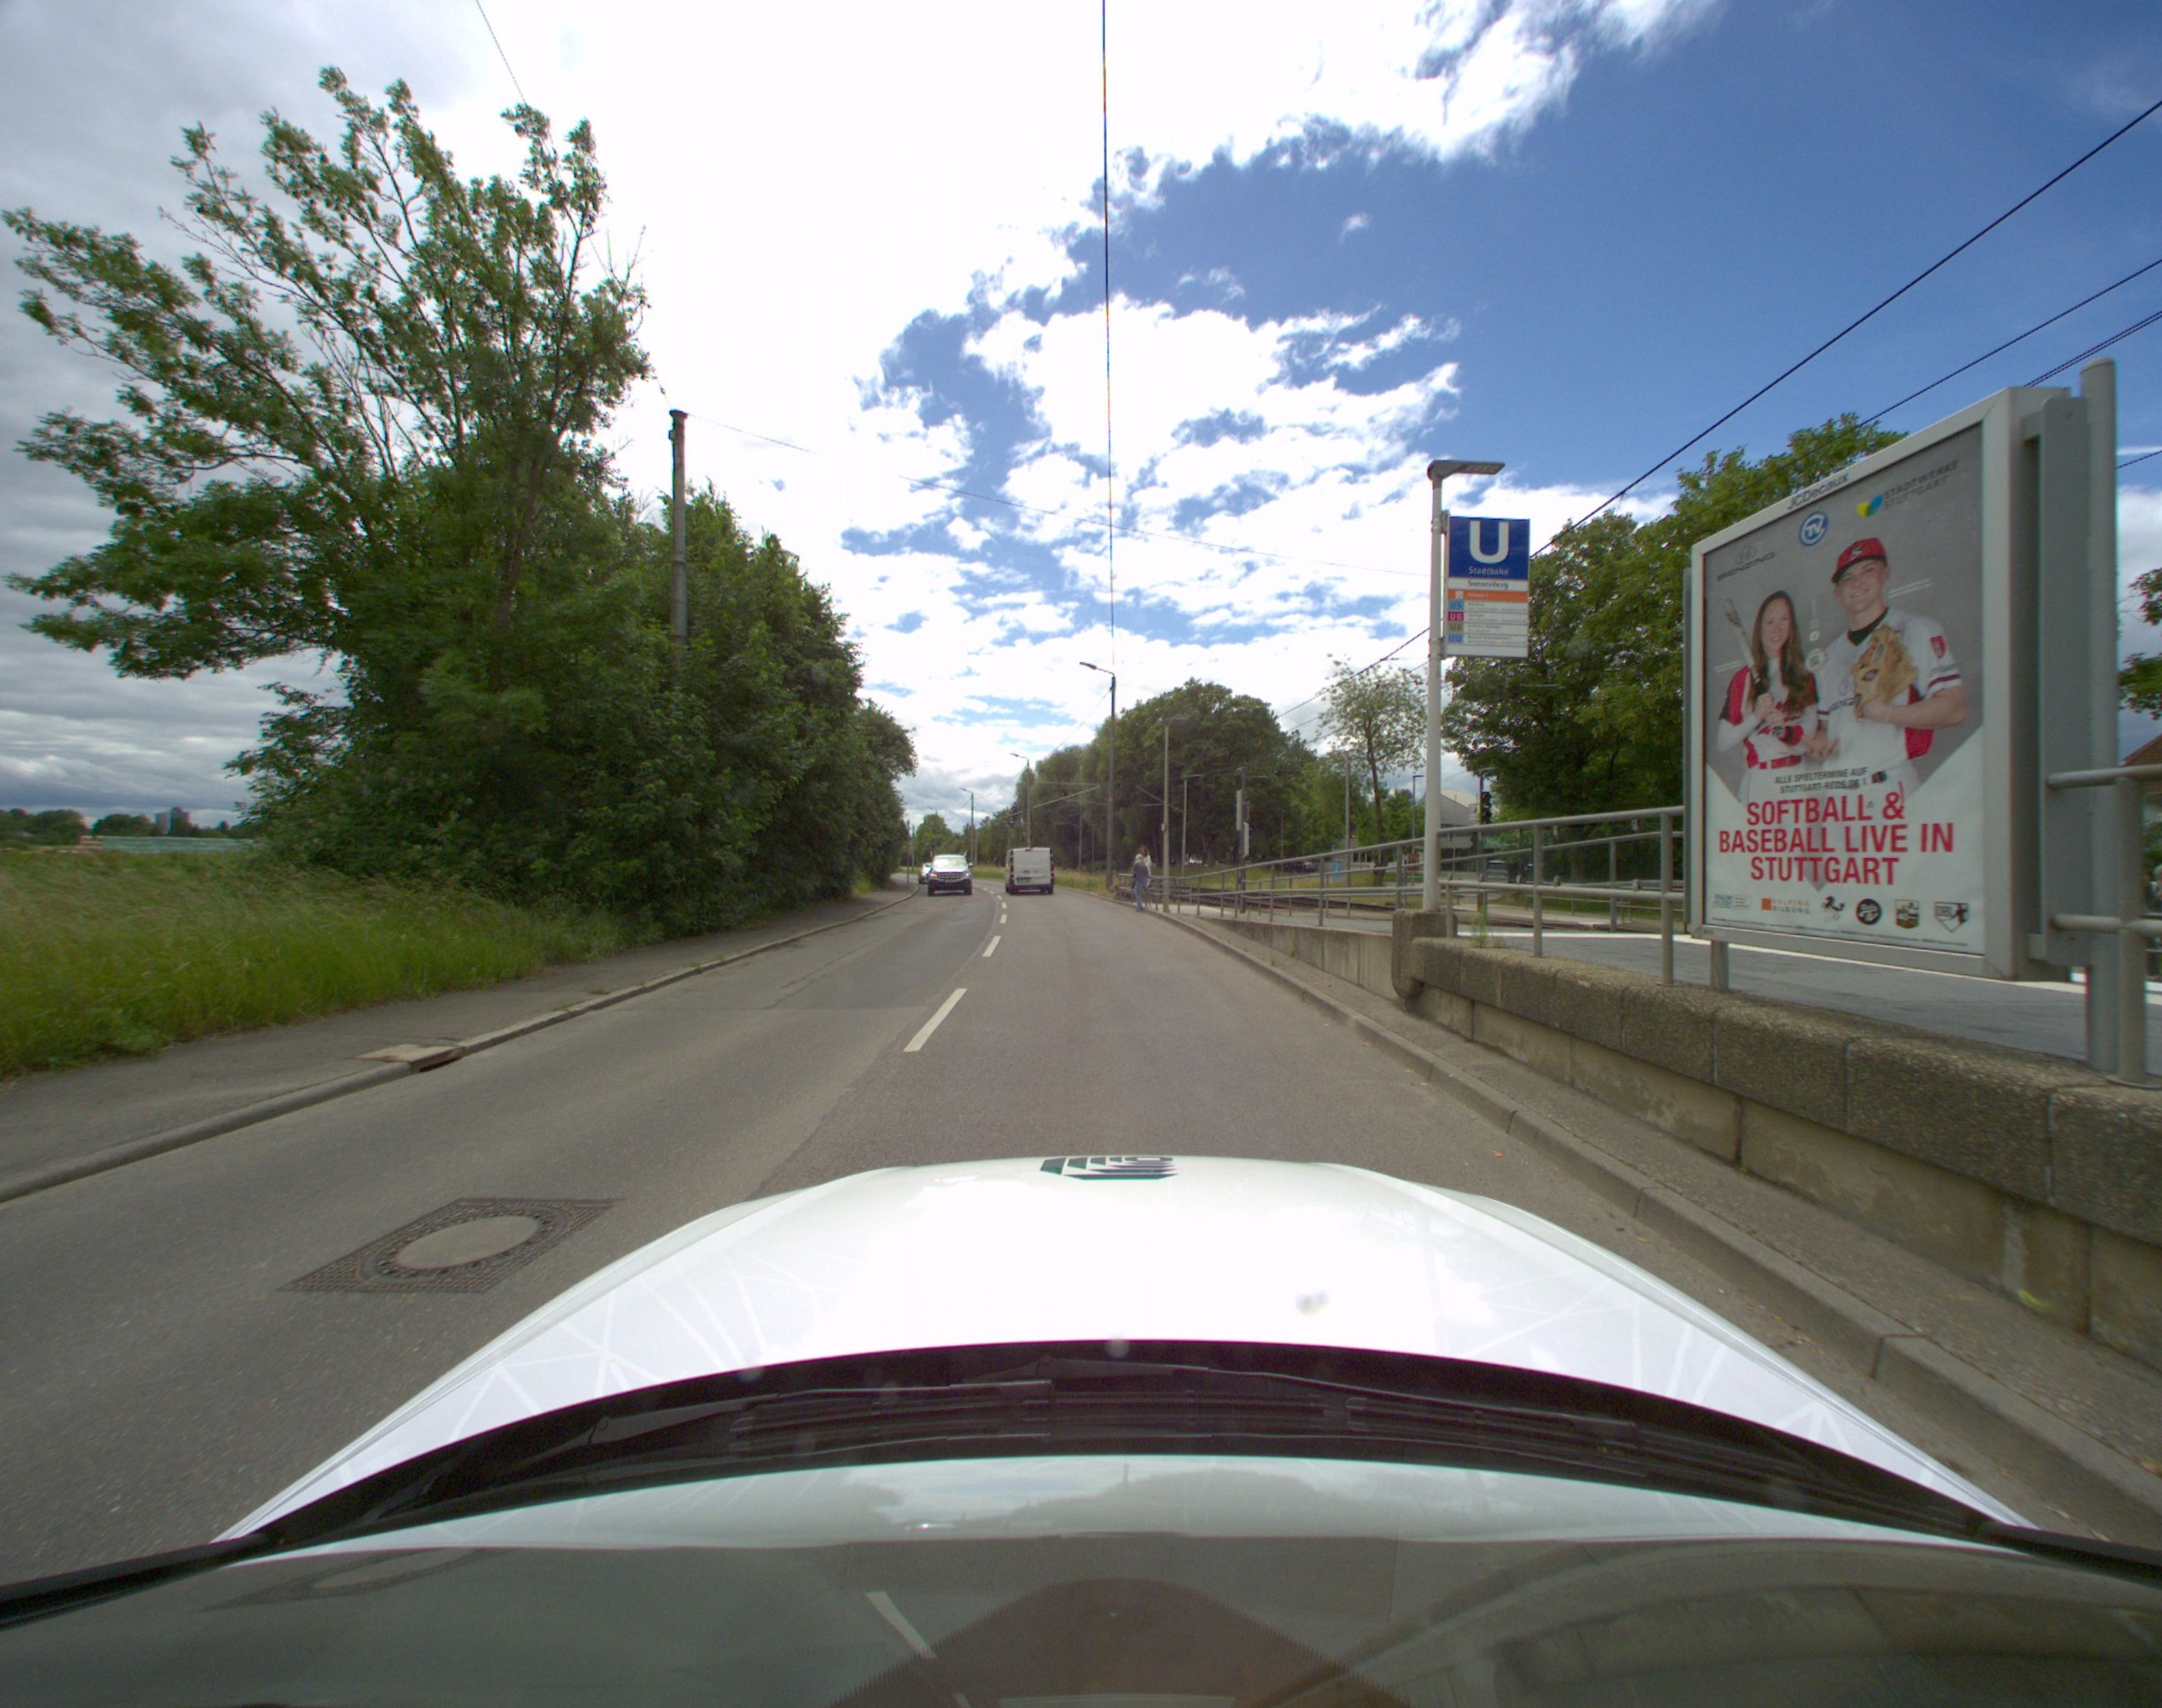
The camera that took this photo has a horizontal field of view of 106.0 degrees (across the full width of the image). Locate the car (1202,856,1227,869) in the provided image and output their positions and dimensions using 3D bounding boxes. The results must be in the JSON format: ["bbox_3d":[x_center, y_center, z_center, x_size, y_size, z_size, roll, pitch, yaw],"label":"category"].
[{"bbox_3d":[18.917,1.205,115.512,1.998,1.700,4.205,1,-1,-16],"label":"car"}]

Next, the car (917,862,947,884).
[{"bbox_3d":[-11.057,1.394,60.102,1.932,1.522,4.637,-2,-1,-13],"label":"car"}]

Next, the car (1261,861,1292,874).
[{"bbox_3d":[23.795,1.653,99.107,1.998,1.443,3.977,1,-1,-17],"label":"car"}]

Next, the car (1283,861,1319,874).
[{"bbox_3d":[25.363,1.572,94.047,1.998,1.443,4.321,1,-1,-17],"label":"car"}]

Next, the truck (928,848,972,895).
[{"bbox_3d":[-5.919,0.768,36.827,1.848,1.966,4.942,0,-1,-9],"label":"truck"}]

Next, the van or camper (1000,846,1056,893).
[{"bbox_3d":[-2.377,0.664,35.347,1.942,1.897,4.269,-1,-1,-10],"label":"van or camper"}]

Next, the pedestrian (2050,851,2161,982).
[{"bbox_3d":[13.174,0.777,10.470,0.491,1.622,0.790,1,-1,-1],"label":"pedestrian"}]

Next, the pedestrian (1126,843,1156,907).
[{"bbox_3d":[1.748,0.630,23.799,0.662,1.841,0.591,2,-4,-28],"label":"pedestrian"}]

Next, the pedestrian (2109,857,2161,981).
[{"bbox_3d":[13.936,0.827,10.507,0.491,1.561,0.692,1,-1,-1],"label":"pedestrian"}]

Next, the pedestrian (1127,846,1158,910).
[{"bbox_3d":[1.699,0.667,22.541,0.476,1.729,0.793,2,-4,-28],"label":"pedestrian"}]
